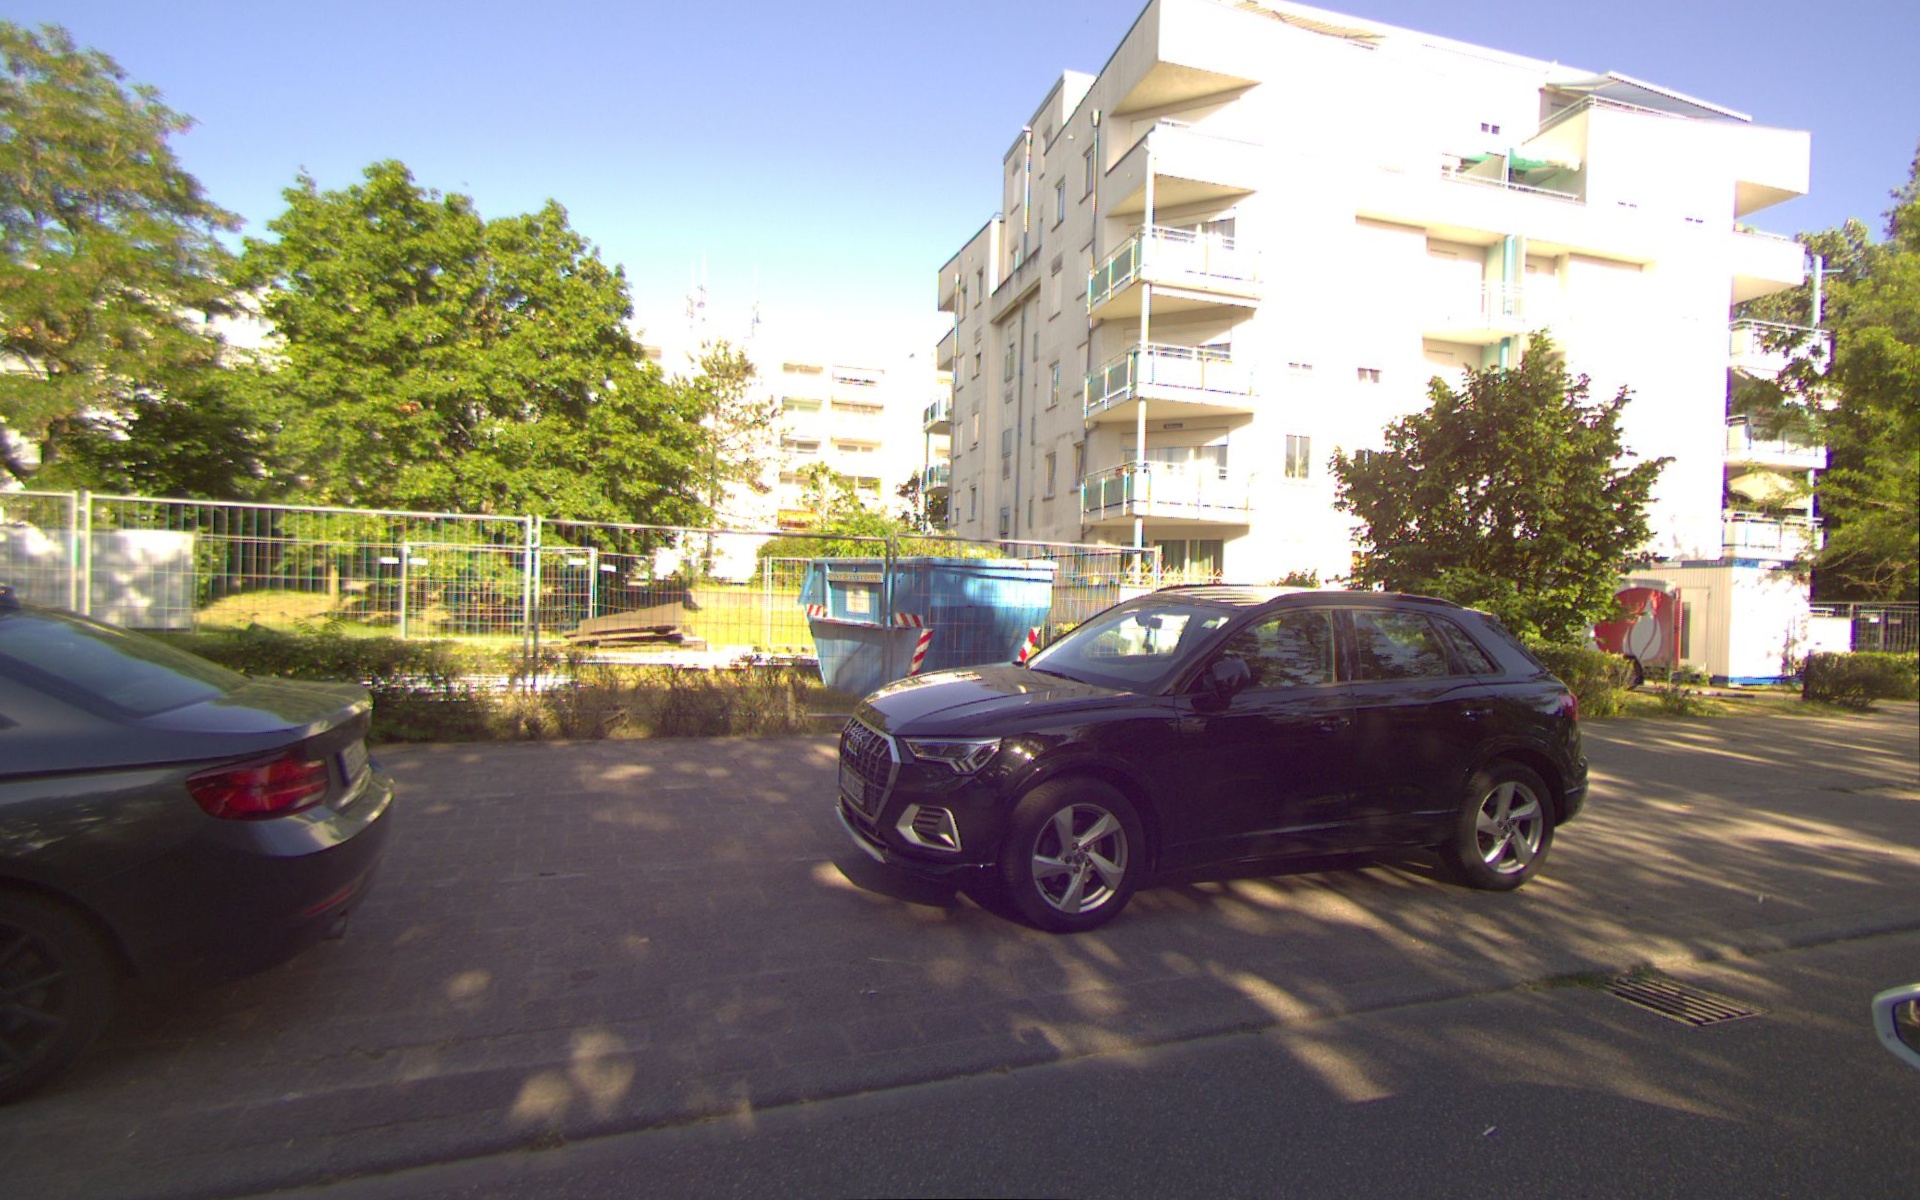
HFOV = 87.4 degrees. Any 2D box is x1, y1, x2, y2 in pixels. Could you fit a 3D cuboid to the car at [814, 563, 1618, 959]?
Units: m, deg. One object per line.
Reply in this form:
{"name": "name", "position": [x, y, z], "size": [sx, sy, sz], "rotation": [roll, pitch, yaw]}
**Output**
{"name": "car", "position": [1.420, 0.697, 5.738], "size": [4.158, 1.643, 1.772], "rotation": [2, 2, -21]}

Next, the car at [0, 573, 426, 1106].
{"name": "car", "position": [-4.046, 0.633, 3.105], "size": [4.080, 1.452, 1.711], "rotation": [2, 2, -24]}

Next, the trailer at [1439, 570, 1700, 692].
{"name": "trailer", "position": [11.698, 0.576, 19.335], "size": [4.276, 2.149, 1.863], "rotation": [2, 2, -17]}

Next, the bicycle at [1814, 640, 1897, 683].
{"name": "bicycle", "position": [23.717, 1.606, 26.644], "size": [0.394, 1.040, 1.695], "rotation": [2, -1, -14]}
